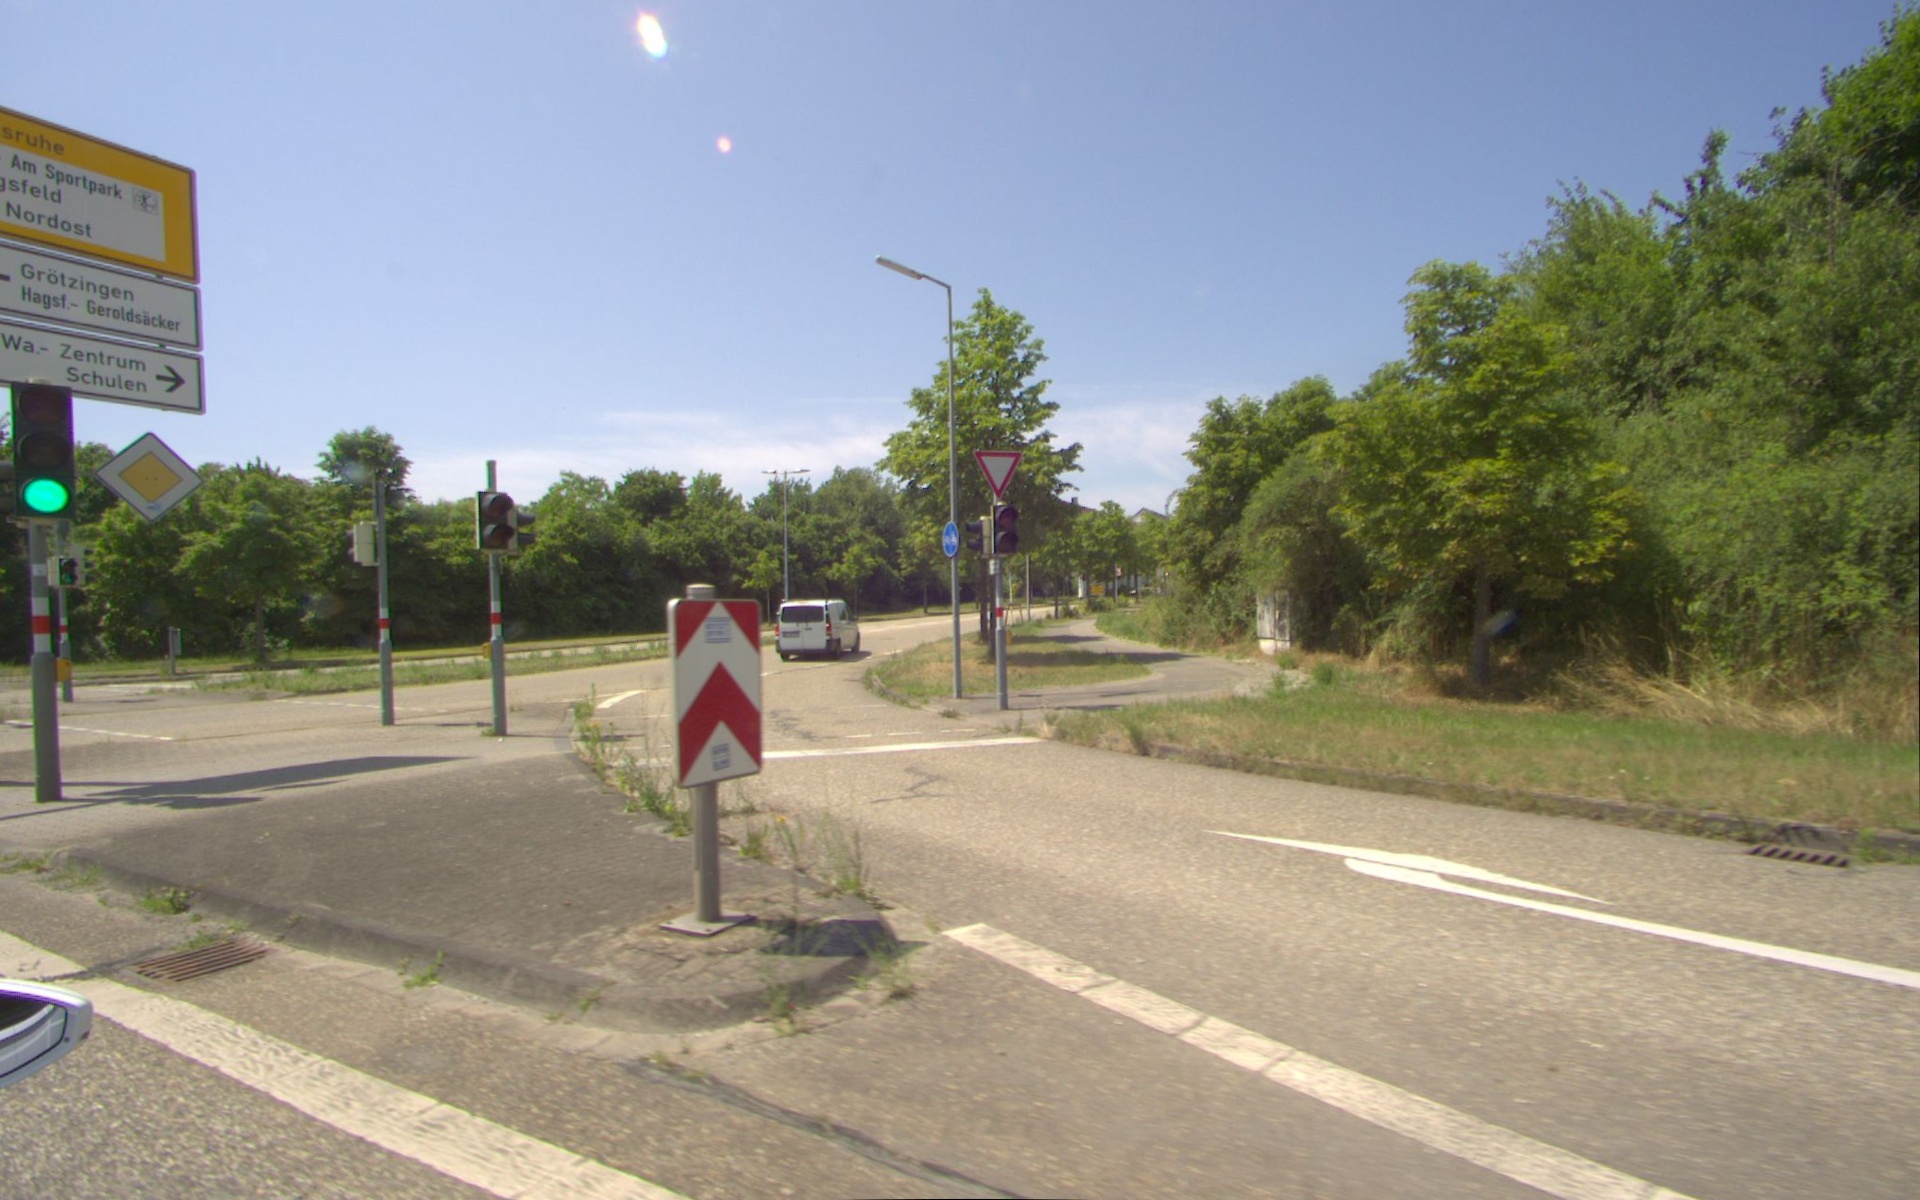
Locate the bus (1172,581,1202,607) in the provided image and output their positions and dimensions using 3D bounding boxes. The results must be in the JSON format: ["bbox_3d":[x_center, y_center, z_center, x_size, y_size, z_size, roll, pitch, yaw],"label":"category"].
[{"bbox_3d":[29.437,-0.720,129.420,2.584,3.127,12.060,-1,-1,18],"label":"bus"}]

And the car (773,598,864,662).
[{"bbox_3d":[-4.563,0.915,33.055,1.830,1.843,4.905,0,1,6],"label":"car"}]
